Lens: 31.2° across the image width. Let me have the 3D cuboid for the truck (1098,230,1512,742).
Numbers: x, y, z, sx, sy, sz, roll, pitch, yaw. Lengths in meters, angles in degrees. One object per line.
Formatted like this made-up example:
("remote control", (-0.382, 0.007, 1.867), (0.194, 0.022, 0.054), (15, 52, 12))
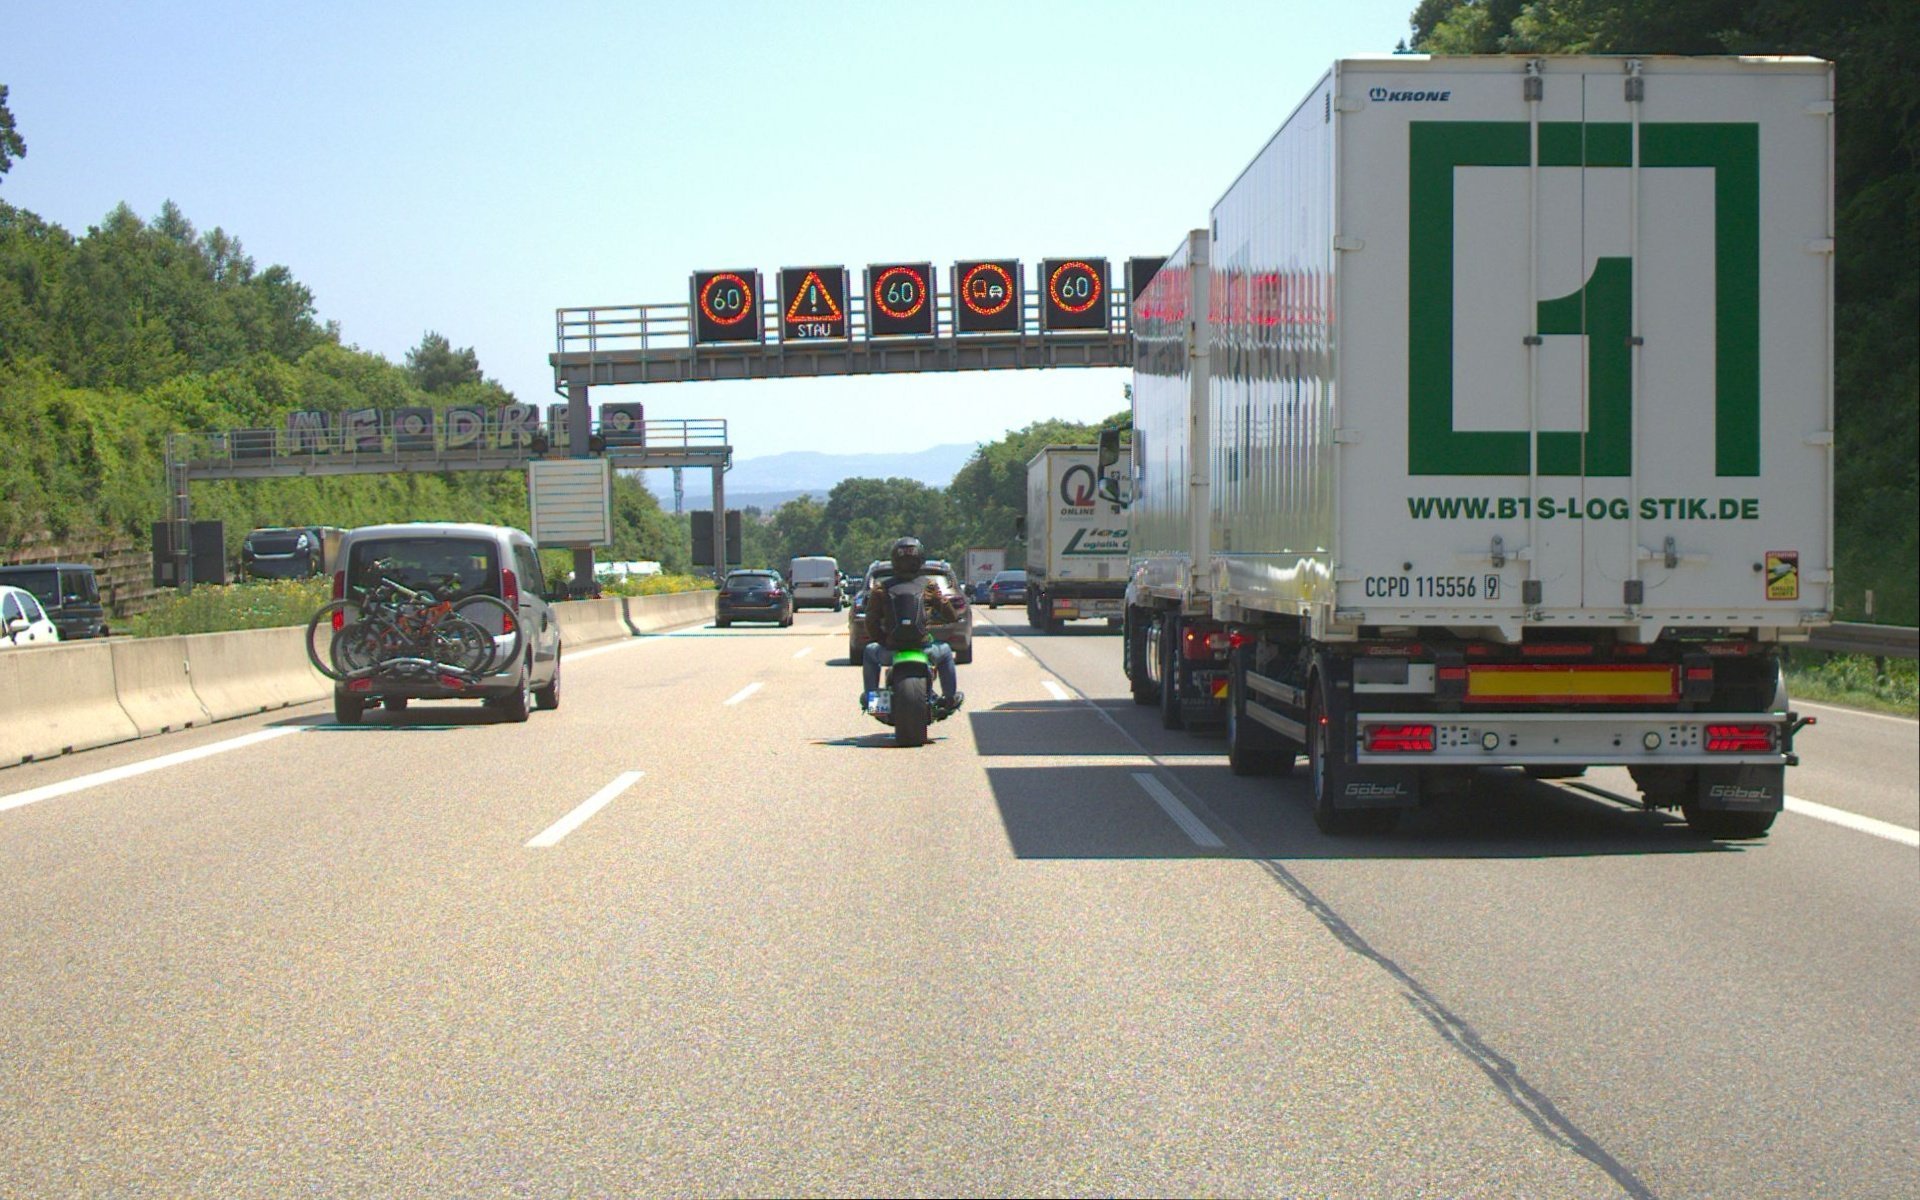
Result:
("truck", (2.940, -0.943, 32.457), (2.680, 4.046, 10.626), (0, 0, -1))

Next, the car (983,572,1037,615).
("car", (1.799, -0.254, 125.309), (1.831, 1.521, 4.027), (0, 1, -1))

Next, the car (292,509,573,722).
("car", (-4.881, 0.137, 32.575), (1.898, 1.841, 5.483), (0, 0, -1))

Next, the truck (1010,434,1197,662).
("truck", (3.107, -1.157, 80.436), (3.383, 4.702, 17.709), (1, 0, -1))

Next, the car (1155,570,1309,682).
("car", (3.942, 0.347, 50.499), (1.845, 1.552, 4.392), (0, 1, -1))

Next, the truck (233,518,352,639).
("truck", (-23.563, -0.775, 121.604), (2.934, 4.045, 5.868), (-3, 0, -1))

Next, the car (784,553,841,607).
("car", (-5.056, -0.711, 117.927), (1.831, 1.804, 4.120), (0, 1, -1))

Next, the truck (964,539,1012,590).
("truck", (1.906, -2.421, 235.658), (3.067, 3.335, 9.652), (1, 0, -1))

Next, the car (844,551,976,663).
("car", (-0.728, 0.066, 50.152), (1.845, 1.552, 4.439), (0, 1, -1))

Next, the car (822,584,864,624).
("car", (-5.384, 0.169, 158.263), (1.831, 1.804, 4.120), (0, 1, -1))

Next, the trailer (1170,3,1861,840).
("trailer", (3.074, -0.930, 22.150), (2.680, 4.161, 10.066), (0, 0, -1))

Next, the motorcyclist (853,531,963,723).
("motorcyclist", (-0.411, 0.214, 27.674), (0.856, 1.510, 0.914), (0, 0, 0))

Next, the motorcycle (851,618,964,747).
("motorcycle", (-0.407, 0.644, 27.690), (0.862, 0.978, 2.130), (0, 0, 0))

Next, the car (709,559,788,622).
("car", (-5.271, -0.260, 86.132), (1.758, 1.538, 4.395), (0, 1, -1))

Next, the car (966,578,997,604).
("car", (1.290, -0.538, 207.970), (1.831, 1.521, 4.027), (0, 1, -1))

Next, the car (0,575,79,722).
("car", (-11.554, 0.558, 39.664), (1.746, 1.599, 4.059), (-2, 1, -1))
